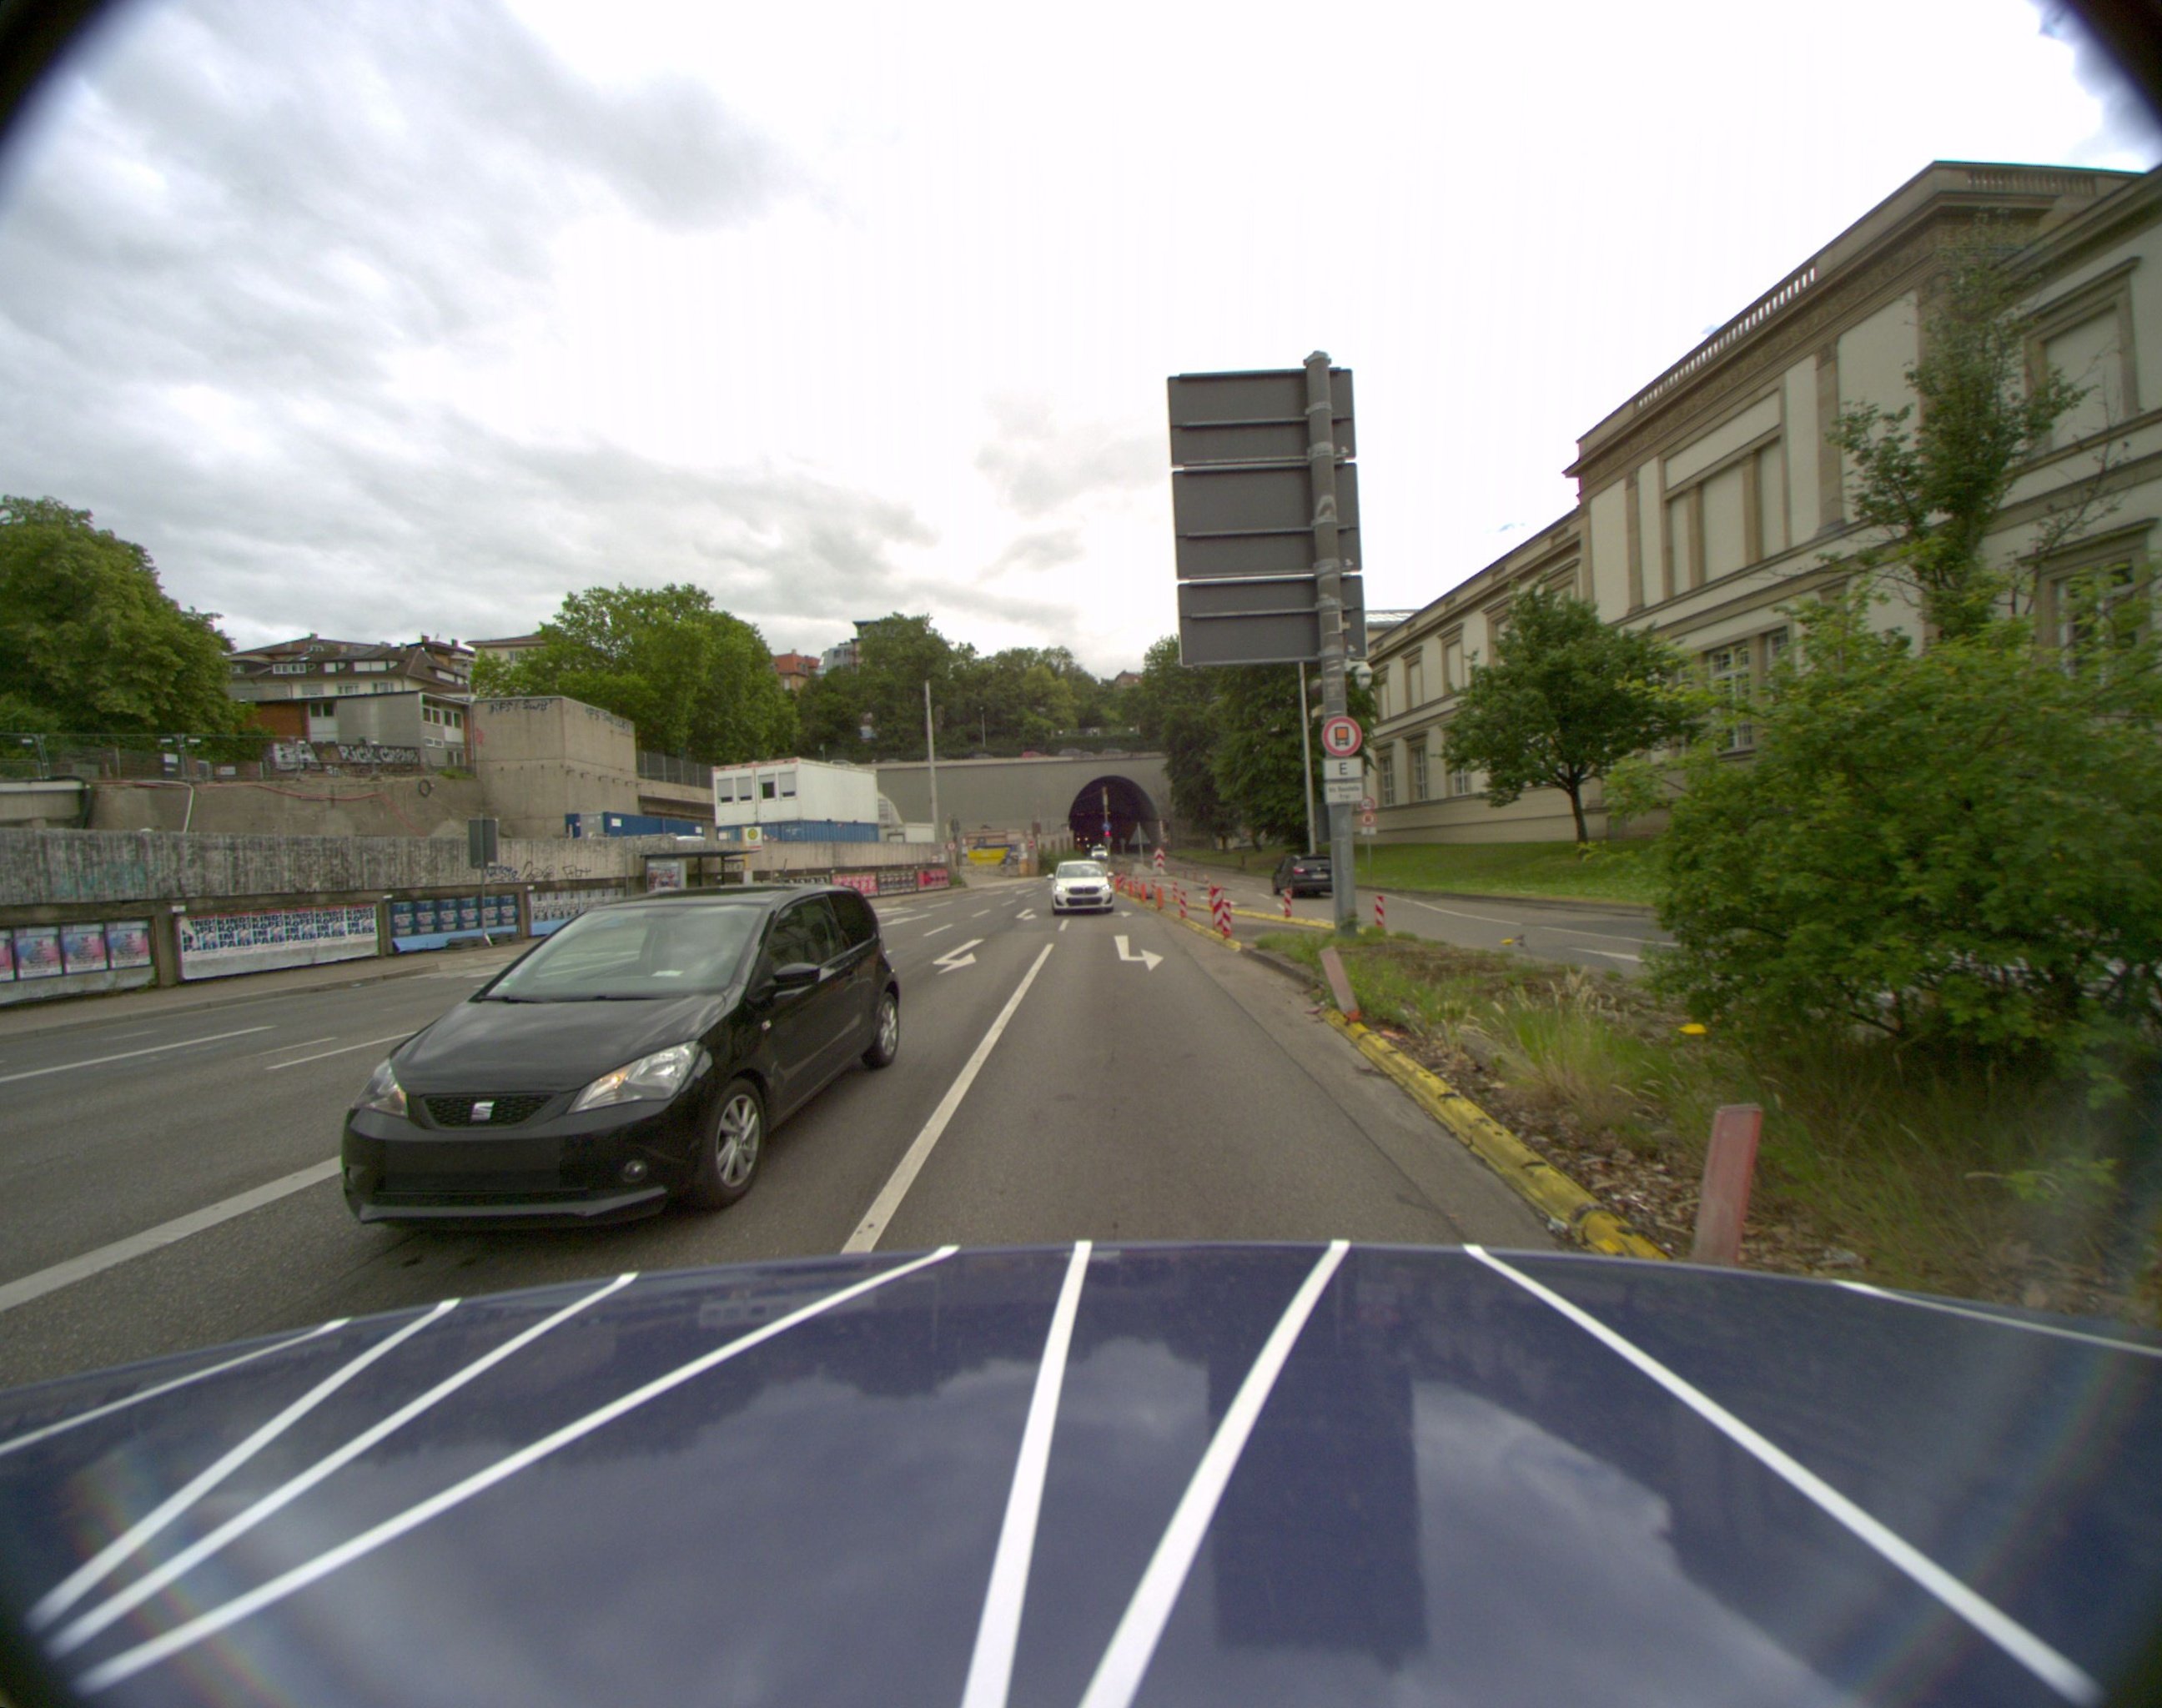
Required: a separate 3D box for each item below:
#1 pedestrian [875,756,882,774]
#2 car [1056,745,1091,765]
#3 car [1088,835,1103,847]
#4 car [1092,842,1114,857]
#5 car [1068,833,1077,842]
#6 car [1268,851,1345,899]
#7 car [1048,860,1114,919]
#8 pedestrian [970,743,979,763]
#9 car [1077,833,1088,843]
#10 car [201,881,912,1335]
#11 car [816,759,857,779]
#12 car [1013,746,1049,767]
[{"bbox_3d":[-23.294,-10.252,87.386,0.582,2.002,0.577,-2,1,-4],"label":"pedestrian"},{"bbox_3d":[-0.917,-11.541,88.718,3.998,2.002,1.999,-2,1,-3],"label":"car"},{"bbox_3d":[1.967,-1.701,101.150,1.826,1.562,4.654,-3,0,3],"label":"car"},{"bbox_3d":[2.320,-0.451,80.922,1.662,1.471,4.003,-3,0,11],"label":"car"},{"bbox_3d":[-1.625,-3.176,145.815,1.705,1.550,4.550,-3,0,-1],"label":"car"},{"bbox_3d":[8.115,0.696,27.656,1.667,1.581,3.882,-1,0,1],"label":"car"},{"bbox_3d":[0.026,1.054,24.023,1.849,1.581,3.882,-3,0,1],"label":"car"},{"bbox_3d":[-11.869,-11.307,85.000,0.851,2.002,0.905,-3,1,-5],"label":"pedestrian"},{"bbox_3d":[0.217,-2.716,128.248,1.705,1.550,4.550,-3,0,-1],"label":"car"},{"bbox_3d":[-2.394,1.024,4.784,1.667,1.487,3.882,-3,0,1],"label":"car"},{"bbox_3d":[-28.003,-9.745,87.037,3.999,2.002,1.999,-2,1,-6],"label":"car"},{"bbox_3d":[-5.793,-11.354,88.532,3.998,2.002,1.999,-2,1,-3],"label":"car"}]
